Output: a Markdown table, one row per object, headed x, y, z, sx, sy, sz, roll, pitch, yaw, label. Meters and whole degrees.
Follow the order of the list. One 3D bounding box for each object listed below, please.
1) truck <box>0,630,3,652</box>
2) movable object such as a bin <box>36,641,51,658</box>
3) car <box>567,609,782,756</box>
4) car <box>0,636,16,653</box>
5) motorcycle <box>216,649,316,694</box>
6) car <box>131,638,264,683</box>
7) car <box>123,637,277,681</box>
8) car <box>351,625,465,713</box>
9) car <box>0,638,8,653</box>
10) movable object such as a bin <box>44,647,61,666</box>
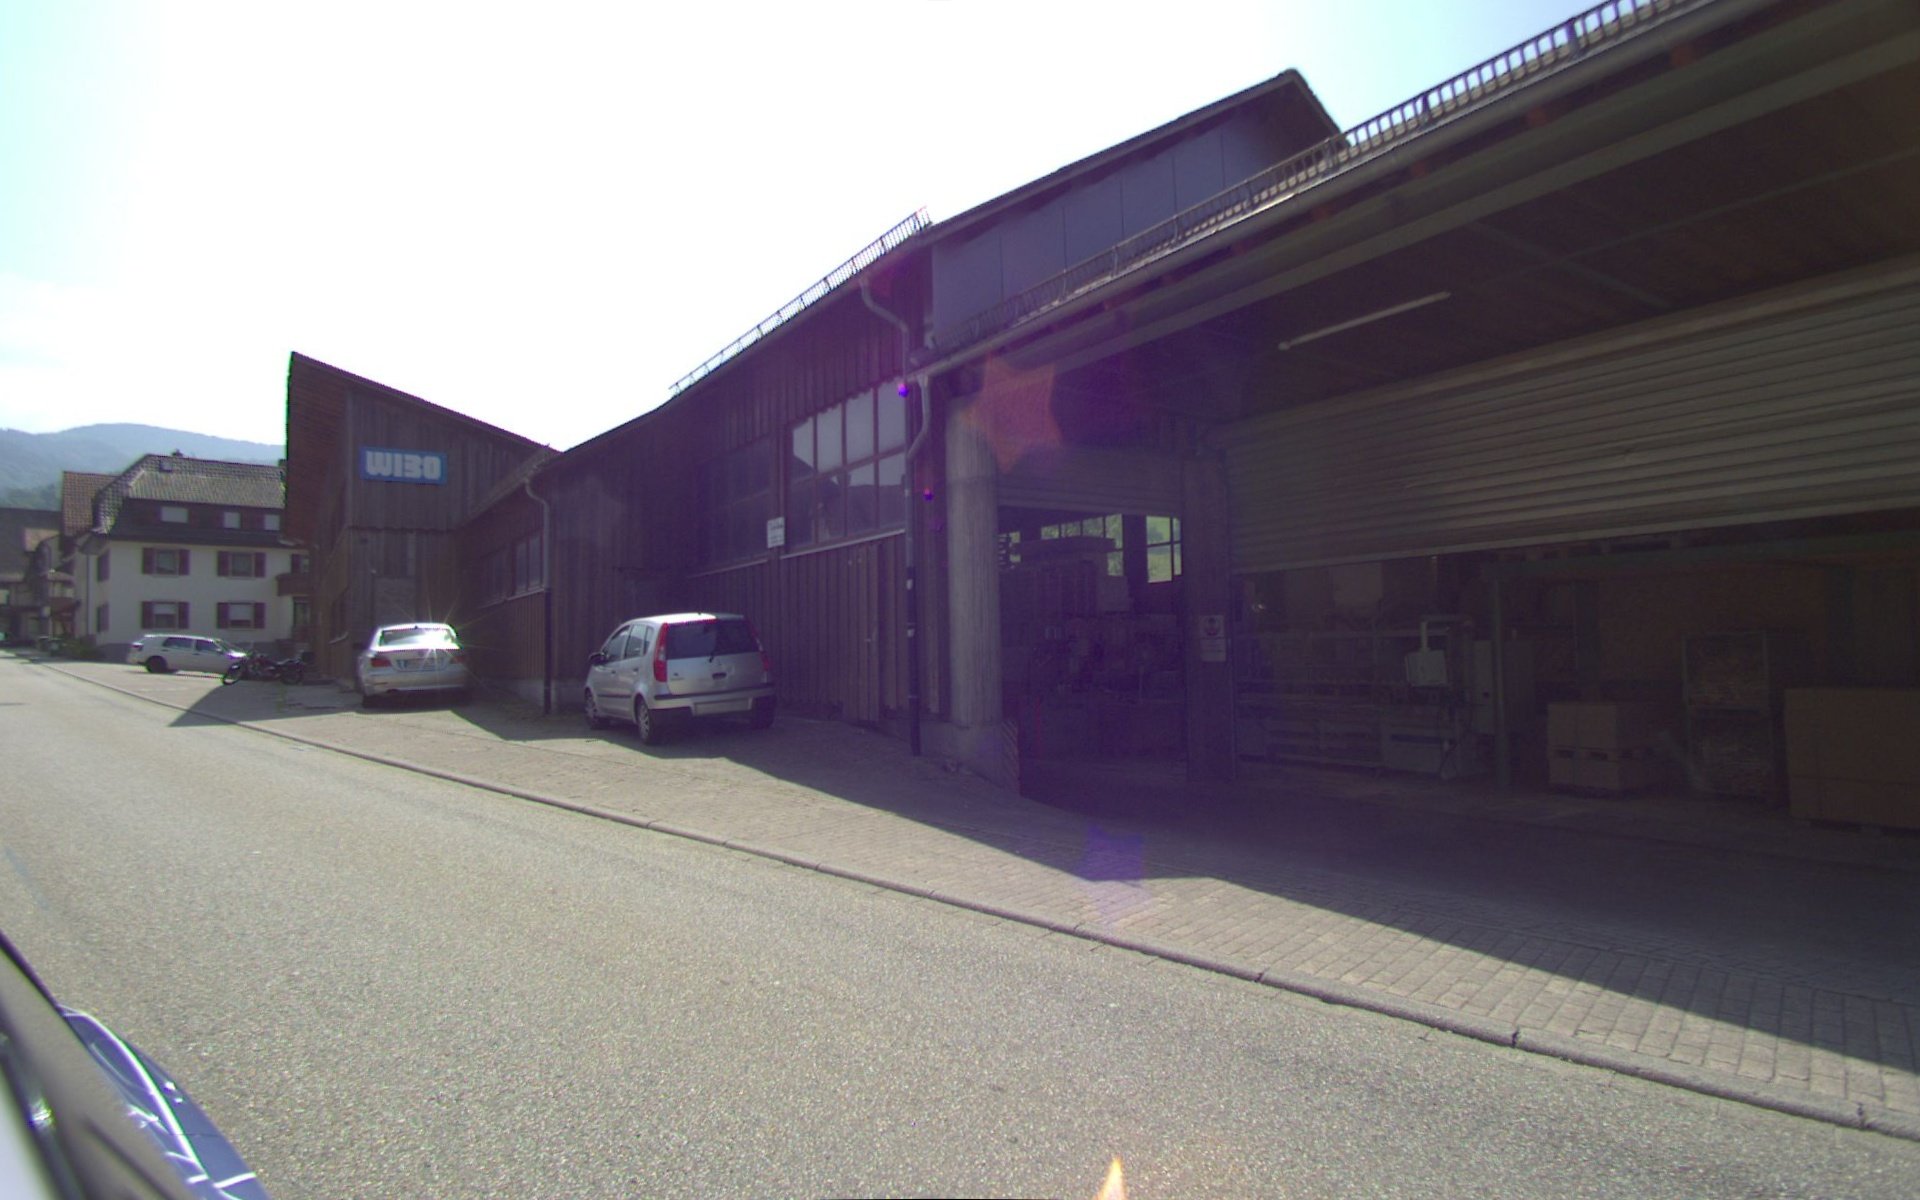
| x | y | z | sx | sy | sz | roll | pitch | yaw | label |
| --- | --- | --- | --- | --- | --- | --- | --- | --- | --- |
| -100.458 | 4.183 | 103.059 | 1.998 | 2.283 | 4.124 | -2 | -2 | 39 | truck |
| -66.292 | 3.603 | 73.182 | 0.709 | 1.190 | 0.598 | 4 | -5 | -44 | movable object such as a bin |
| -3.964 | 0.998 | 13.562 | 1.559 | 1.582 | 4.033 | -3 | 0 | -34 | car |
| -90.573 | 4.239 | 95.521 | 4.284 | 1.565 | 1.751 | -2 | -2 | 42 | car |
| -20.497 | 2.100 | 29.933 | 2.376 | 1.274 | 0.745 | 2 | -3 | -35 | motorcycle |
| -28.055 | 2.244 | 37.375 | 3.608 | 1.396 | 1.716 | 6 | -5 | -30 | car |
| -29.665 | 2.332 | 39.678 | 4.367 | 1.486 | 1.930 | 4 | -5 | -19 | car |
| -10.707 | 1.277 | 19.464 | 1.705 | 1.465 | 4.818 | 0 | -3 | -31 | car |
| -96.673 | 4.477 | 99.752 | 1.754 | 1.514 | 4.050 | -2 | -3 | 43 | car |
| -52.538 | 3.260 | 58.608 | 0.621 | 1.075 | 0.668 | -2 | -3 | 43 | movable object such as a bin |
